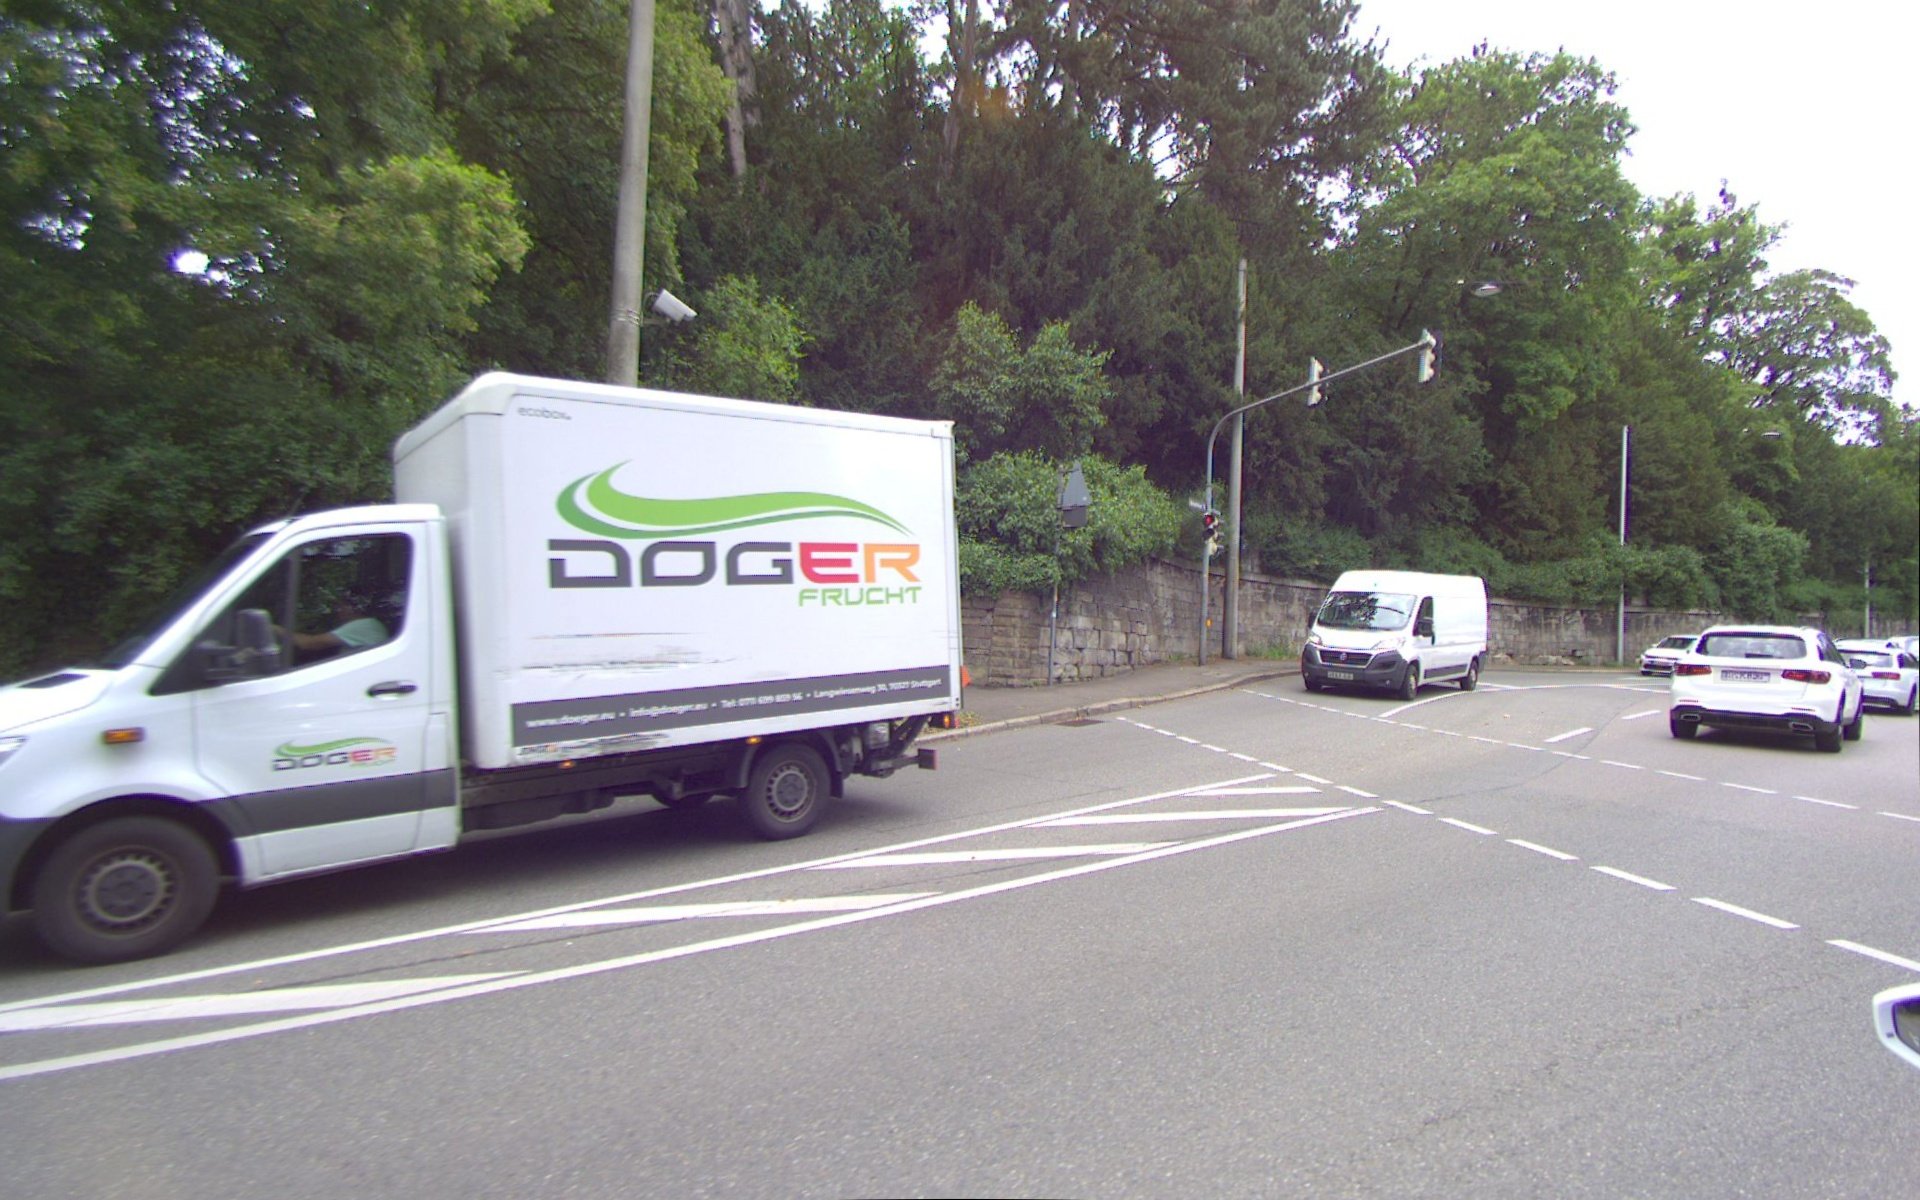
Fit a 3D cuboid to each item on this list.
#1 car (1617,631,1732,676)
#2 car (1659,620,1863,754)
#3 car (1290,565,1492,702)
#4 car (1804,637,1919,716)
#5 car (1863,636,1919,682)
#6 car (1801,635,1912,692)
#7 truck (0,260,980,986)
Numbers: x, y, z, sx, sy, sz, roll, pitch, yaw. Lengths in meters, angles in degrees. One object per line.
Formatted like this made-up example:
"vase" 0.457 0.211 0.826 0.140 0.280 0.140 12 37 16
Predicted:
"car" 25.064 1.879 35.220 4.014 1.424 1.631 2 1 -29
"car" 11.944 1.190 14.846 1.840 1.627 4.641 1 -2 45
"car" 9.062 0.658 20.779 1.971 2.445 5.864 2 0 42
"car" 20.938 1.698 23.223 1.845 1.554 4.748 2 -1 44
"car" 36.739 2.264 38.594 4.431 1.588 1.882 2 1 -33
"car" 30.576 2.134 34.224 4.357 1.658 1.979 2 1 -37
"truck" -2.983 0.119 6.958 6.295 3.130 2.381 0 -1 -42
